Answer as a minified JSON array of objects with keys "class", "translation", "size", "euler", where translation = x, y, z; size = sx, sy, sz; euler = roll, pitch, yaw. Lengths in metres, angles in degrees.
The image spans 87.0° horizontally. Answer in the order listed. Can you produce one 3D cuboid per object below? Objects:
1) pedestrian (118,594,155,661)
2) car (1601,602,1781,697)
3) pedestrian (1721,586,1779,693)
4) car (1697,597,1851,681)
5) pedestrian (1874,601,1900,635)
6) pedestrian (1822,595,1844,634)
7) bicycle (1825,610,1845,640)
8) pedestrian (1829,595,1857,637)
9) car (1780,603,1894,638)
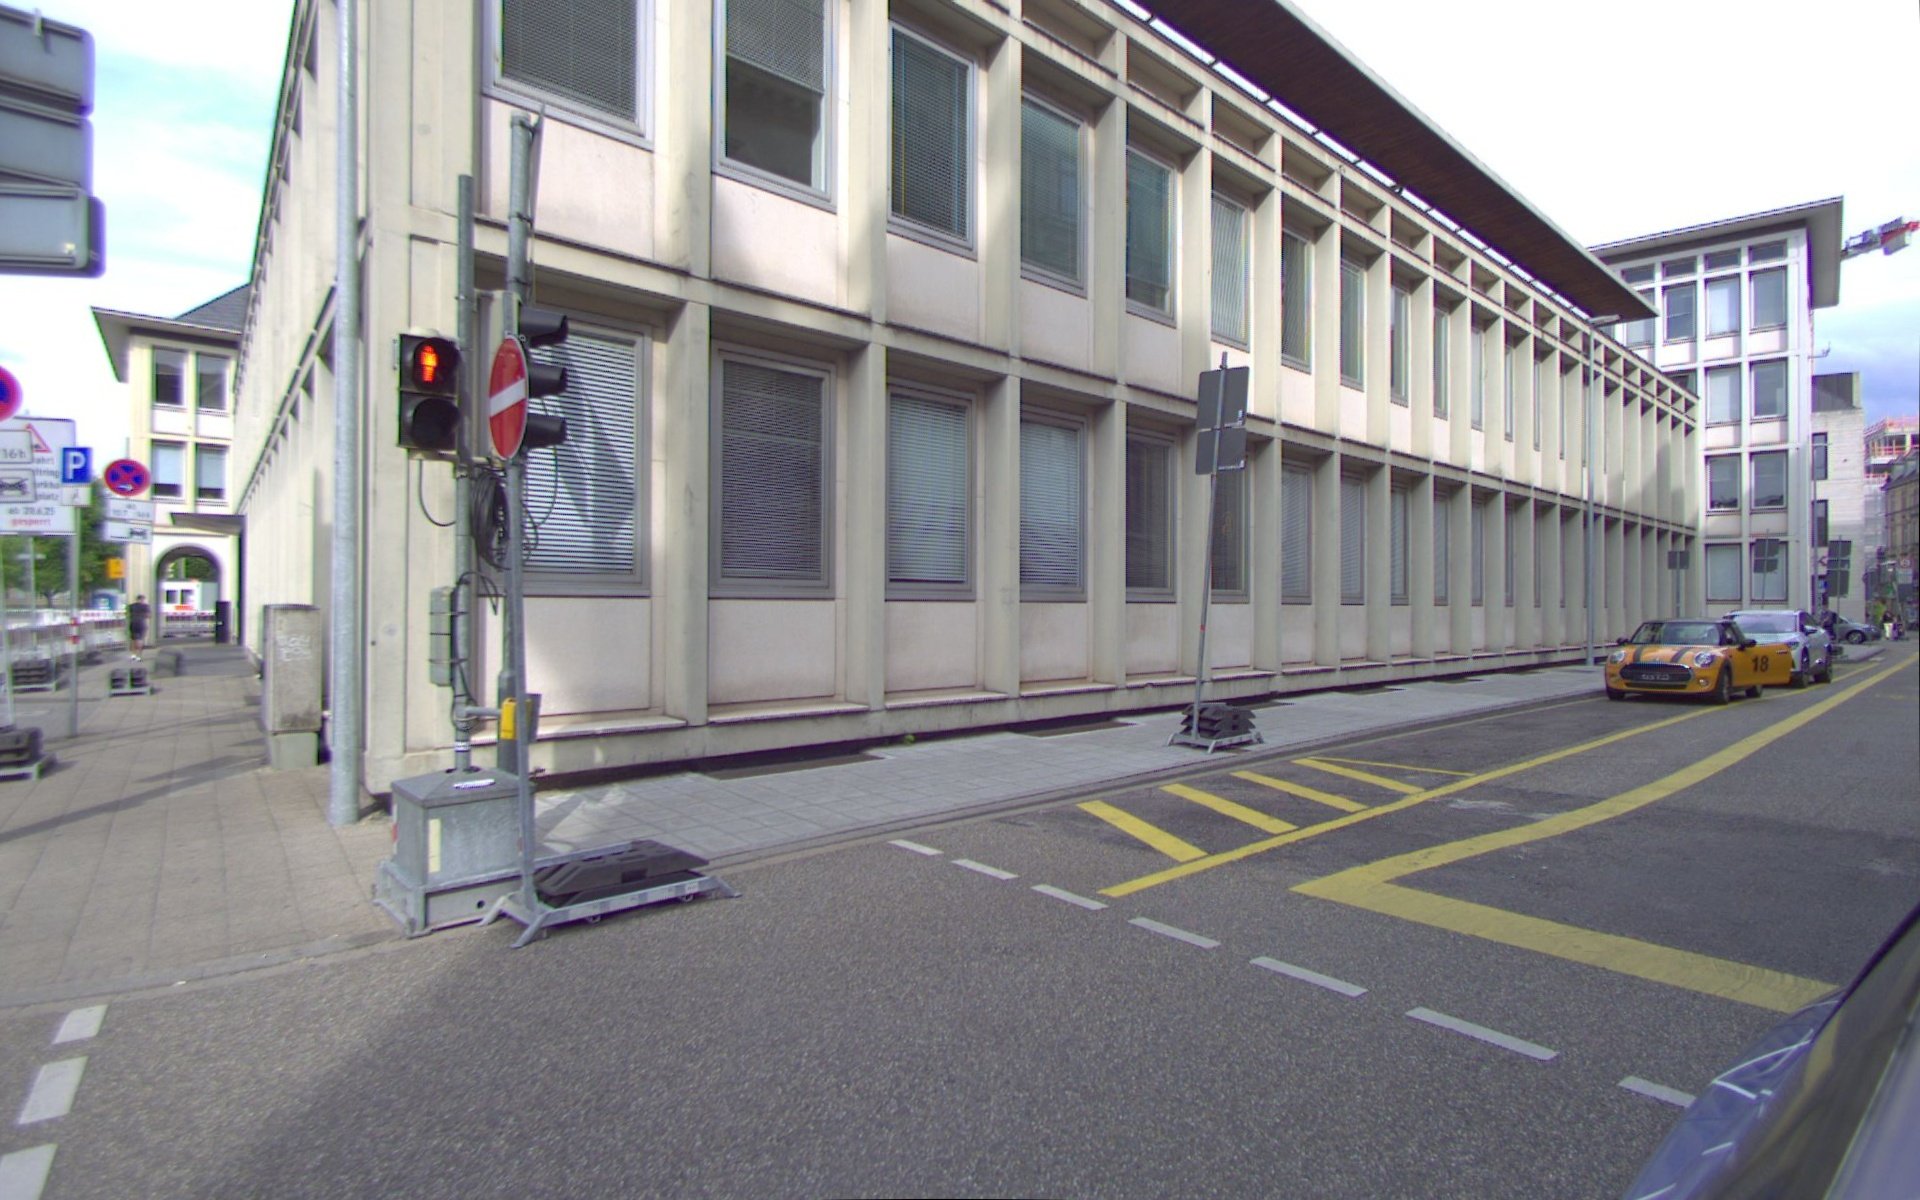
[{"class":"pedestrian","translation":[-21.713,0.716,26.696],"size":[0.720,1.735,0.847],"euler":[0,0,-37]},{"class":"car","translation":[12.876,0.789,17.751],"size":[3.818,1.453,1.683],"euler":[0,-1,-41]},{"class":"pedestrian","translation":[13.650,0.662,17.479],"size":[0.688,1.786,0.704],"euler":[0,0,-44]},{"class":"car","translation":[17.787,0.818,22.045],"size":[4.434,1.626,1.862],"euler":[0,-3,-42]},{"class":"pedestrian","translation":[49.275,0.976,53.822],"size":[0.643,1.788,0.642],"euler":[-3,-3,9]},{"class":"pedestrian","translation":[39.705,0.659,46.023],"size":[0.639,1.788,0.646],"euler":[-1,-1,34]},{"class":"bicycle","translation":[35.581,1.001,41.147],"size":[0.588,1.182,1.788],"euler":[0,0,41]},{"class":"pedestrian","translation":[39.585,0.710,45.374],"size":[0.740,1.838,0.747],"euler":[-5,-3,34]},{"class":"car","translation":[43.021,0.948,49.690],"size":[4.182,1.610,1.786],"euler":[0,0,44]}]
